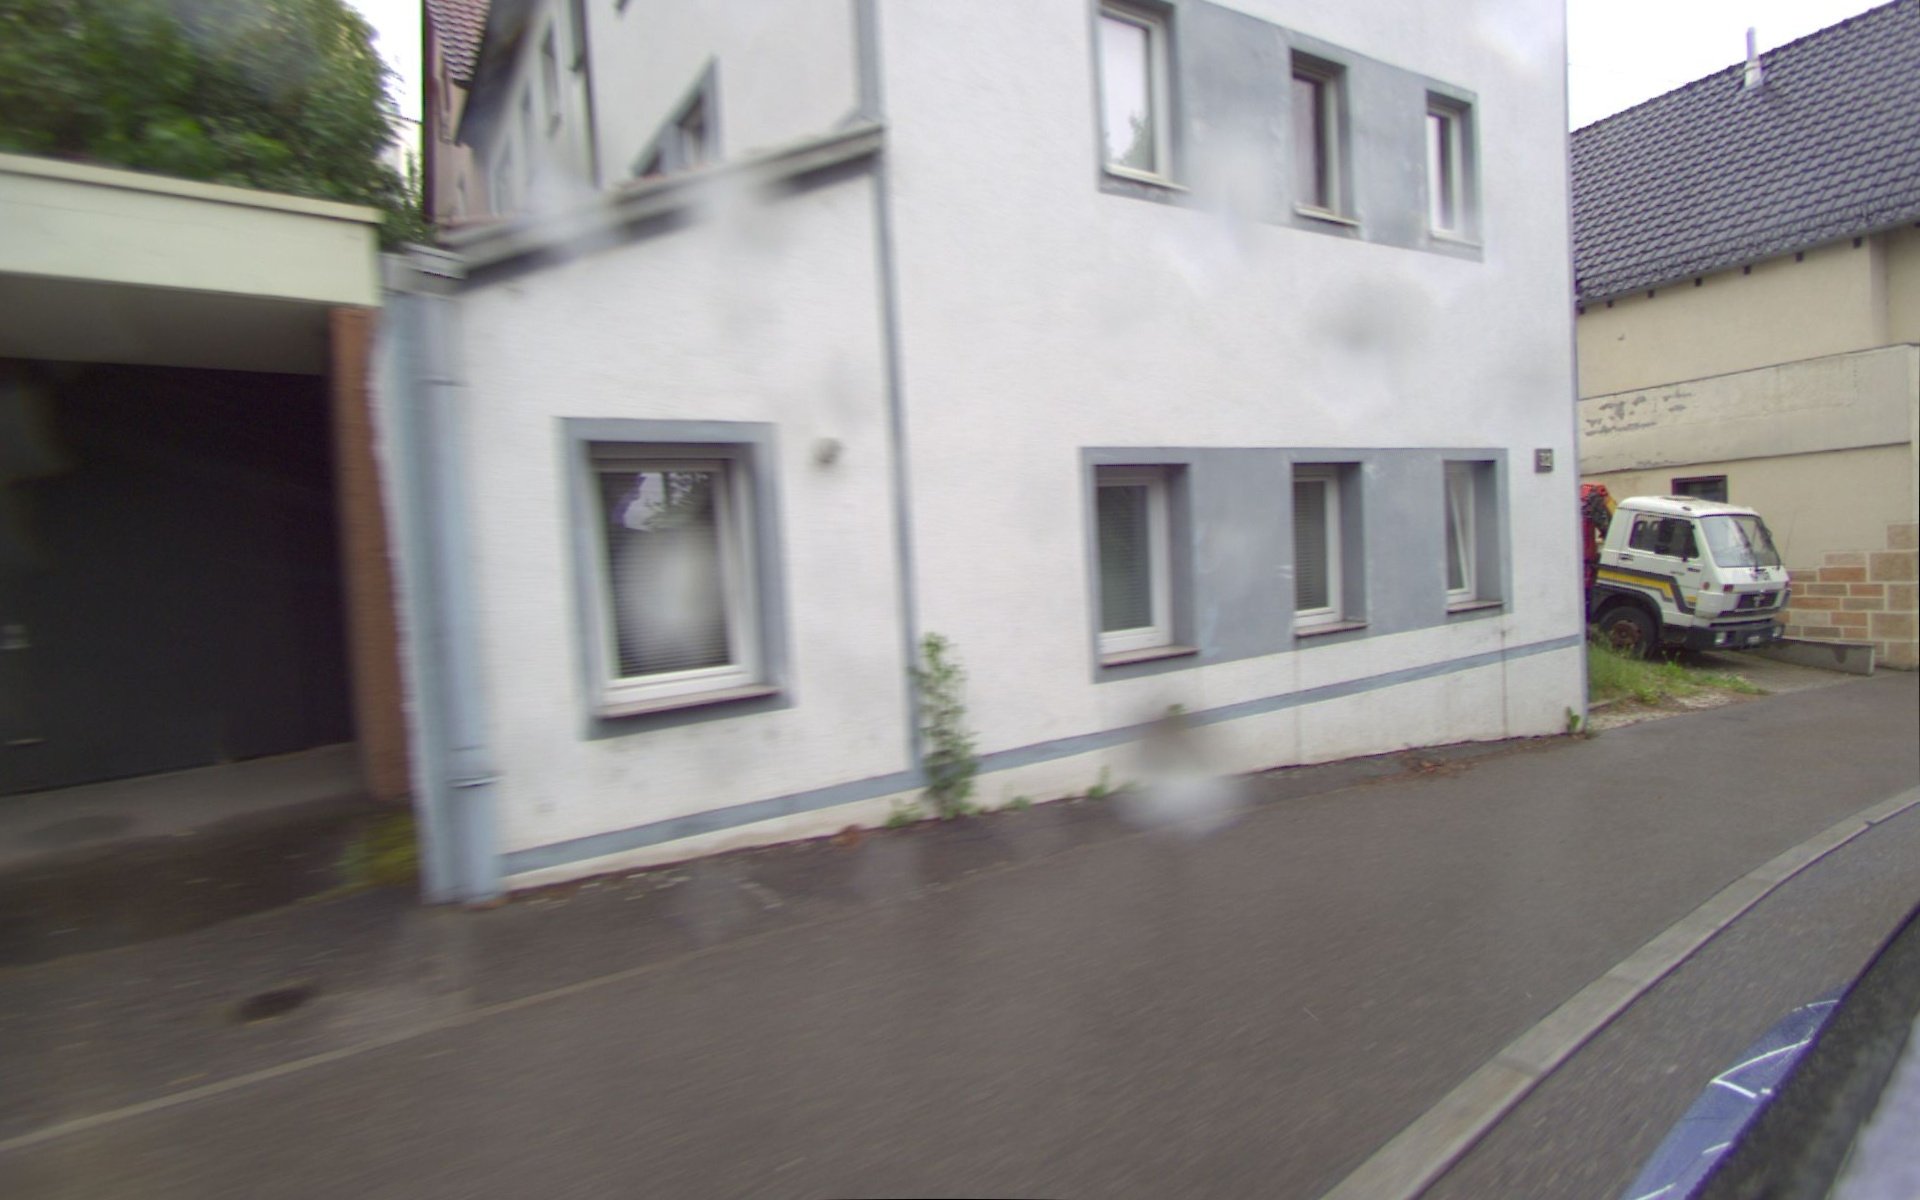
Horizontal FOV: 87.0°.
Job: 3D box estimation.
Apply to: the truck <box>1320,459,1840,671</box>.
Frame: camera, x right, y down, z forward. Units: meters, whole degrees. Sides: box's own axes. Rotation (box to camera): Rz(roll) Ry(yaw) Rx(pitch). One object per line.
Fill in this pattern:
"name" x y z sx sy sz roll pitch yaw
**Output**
"truck" 9.498 -0.779 16.612 2.097 2.734 6.995 0 5 -29
